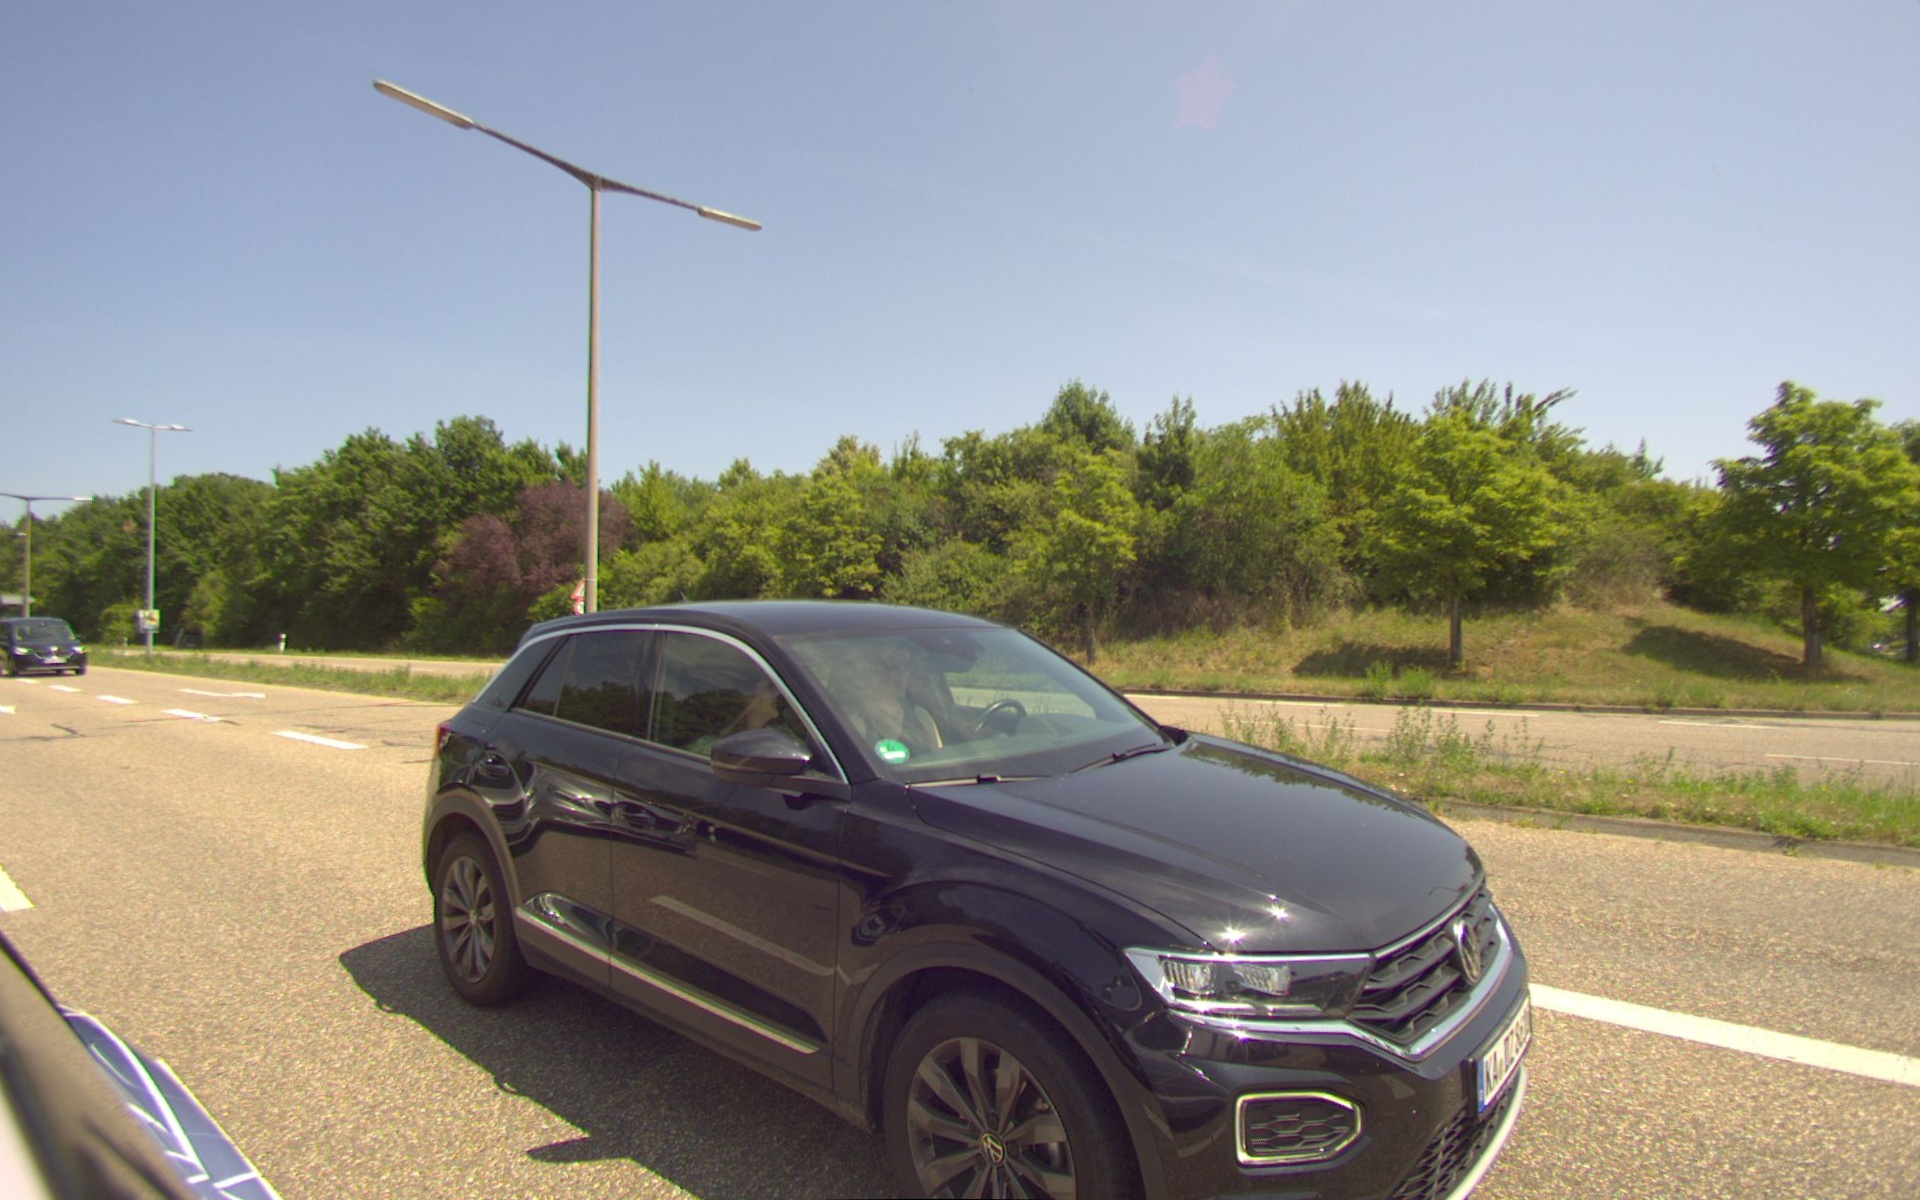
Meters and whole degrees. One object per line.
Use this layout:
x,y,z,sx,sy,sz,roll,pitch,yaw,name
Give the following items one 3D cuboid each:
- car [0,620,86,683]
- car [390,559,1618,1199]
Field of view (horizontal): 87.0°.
-28.921,1.557,31.624,4.317,1.840,1.714,-2,-2,39,car
-0.252,0.715,3.435,3.969,1.523,1.716,-1,0,41,car
